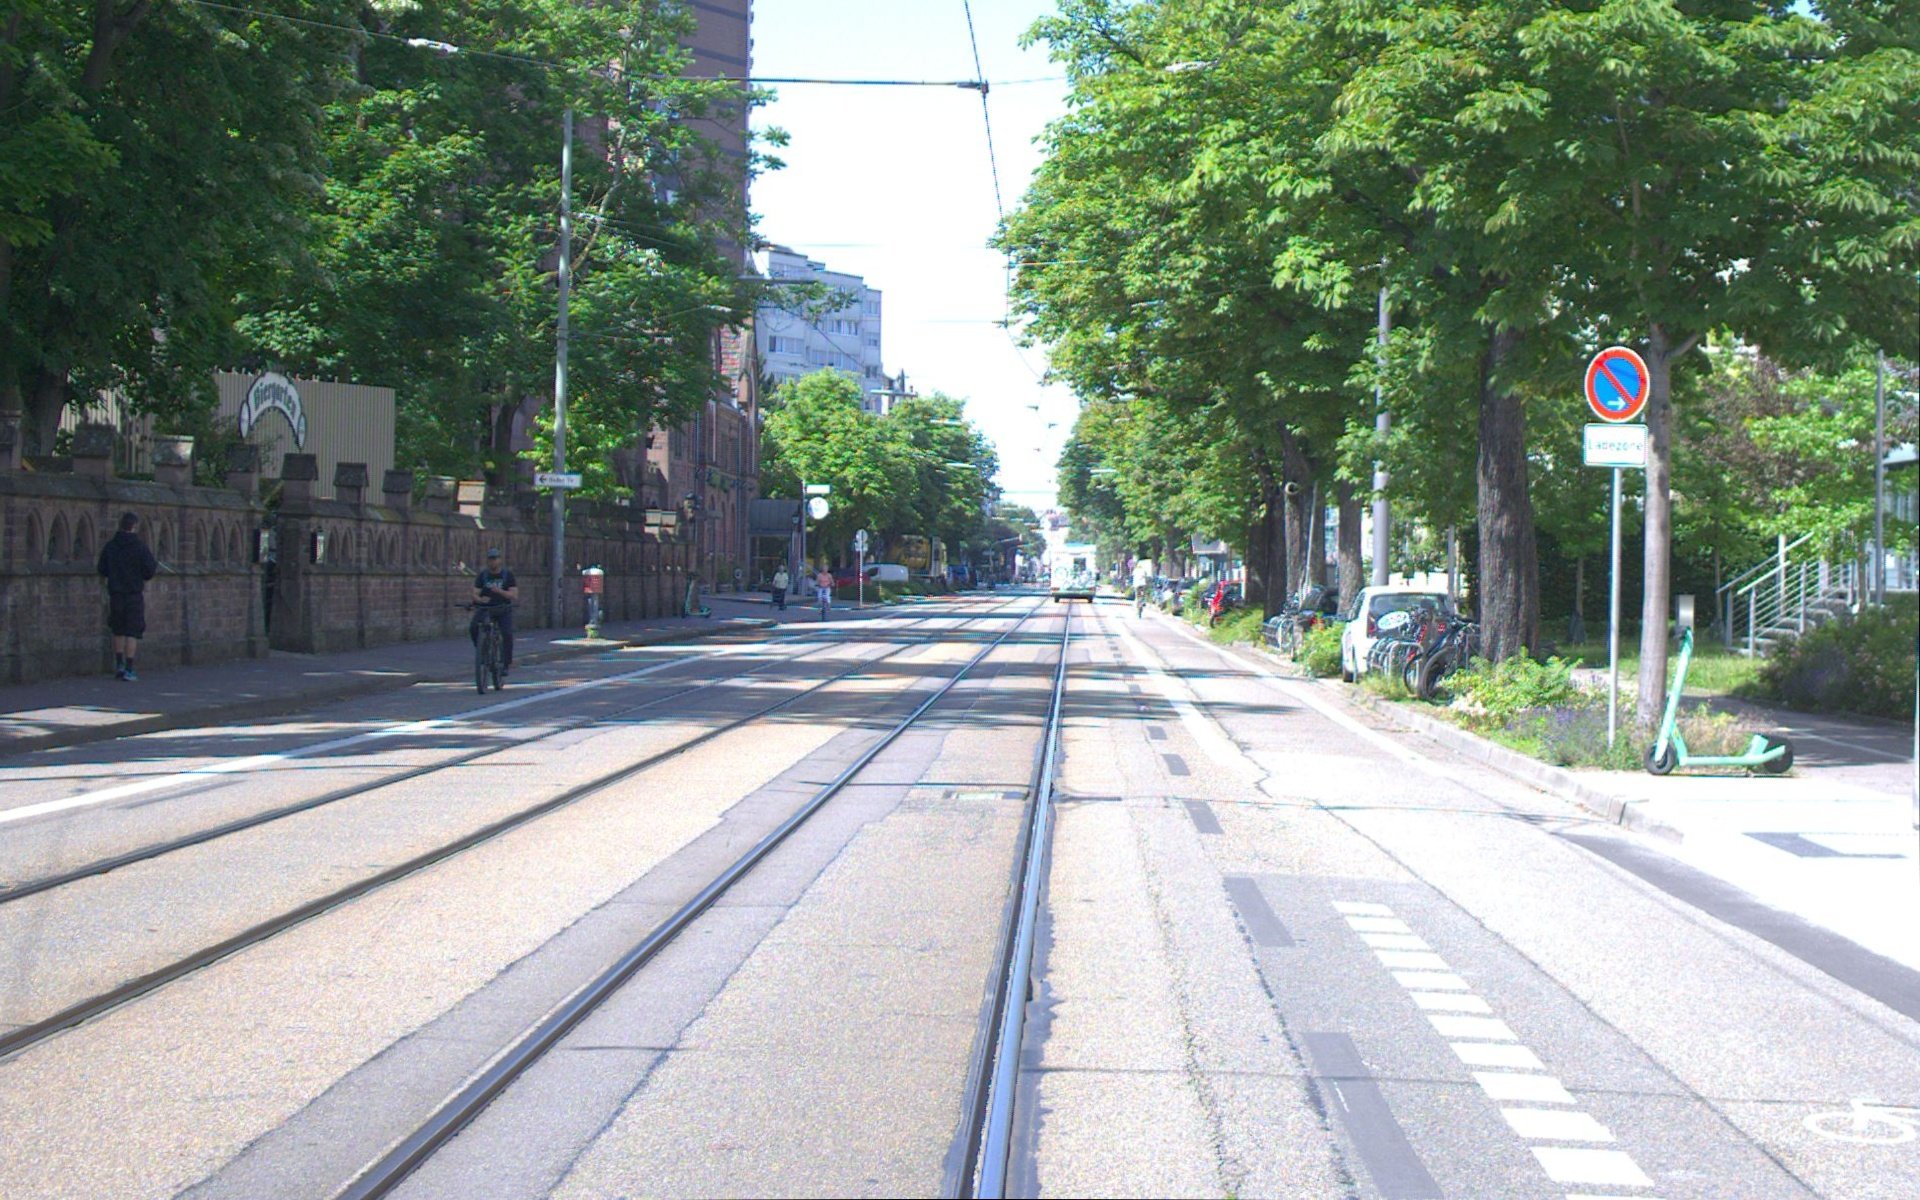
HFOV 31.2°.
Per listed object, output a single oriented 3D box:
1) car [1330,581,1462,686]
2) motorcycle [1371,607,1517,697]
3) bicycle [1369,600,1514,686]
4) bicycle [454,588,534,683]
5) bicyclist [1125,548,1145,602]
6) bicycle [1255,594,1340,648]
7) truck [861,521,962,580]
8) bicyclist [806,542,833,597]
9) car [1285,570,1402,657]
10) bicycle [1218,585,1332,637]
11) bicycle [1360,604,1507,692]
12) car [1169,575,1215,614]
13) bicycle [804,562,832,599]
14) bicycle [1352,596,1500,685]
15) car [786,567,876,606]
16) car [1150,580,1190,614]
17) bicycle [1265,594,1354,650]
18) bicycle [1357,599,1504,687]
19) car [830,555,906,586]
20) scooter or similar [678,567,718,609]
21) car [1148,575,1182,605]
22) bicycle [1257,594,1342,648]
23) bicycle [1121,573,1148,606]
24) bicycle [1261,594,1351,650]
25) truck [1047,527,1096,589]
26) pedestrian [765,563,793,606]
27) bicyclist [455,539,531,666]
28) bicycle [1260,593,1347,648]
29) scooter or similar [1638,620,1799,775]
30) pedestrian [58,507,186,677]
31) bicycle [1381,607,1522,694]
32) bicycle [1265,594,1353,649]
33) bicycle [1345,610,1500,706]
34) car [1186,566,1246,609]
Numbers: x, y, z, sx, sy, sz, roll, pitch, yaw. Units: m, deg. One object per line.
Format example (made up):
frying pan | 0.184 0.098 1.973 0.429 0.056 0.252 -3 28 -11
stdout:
car | 6.396 0.463 50.723 1.630 1.467 3.630 1 0 3
motorcycle | 6.015 0.645 42.783 1.724 1.082 0.658 1 0 2
bicycle | 6.302 0.563 45.061 1.793 1.082 0.726 1 0 2
bicycle | -5.706 0.423 42.194 0.592 1.102 2.054 1 1 2
bicyclist | 6.116 -0.867 120.122 0.636 1.865 1.024 1 0 1
bicycle | 7.012 0.436 71.474 1.724 1.082 0.615 1 0 2
truck | -3.223 -3.306 231.695 2.816 3.846 9.987 1 0 24
bicyclist | -4.400 -0.966 107.628 0.725 1.693 1.147 1 0 1
car | 6.968 0.220 62.792 1.630 1.478 4.273 1 1 0
bicycle | 8.498 0.302 92.695 3.028 1.327 1.041 1 0 6
bicycle | 6.275 0.629 45.592 1.849 1.128 0.680 1 0 2
car | 8.975 -0.221 133.377 1.630 1.467 4.113 1 0 2
bicycle | -4.440 -0.613 107.600 0.662 1.150 2.014 1 1 2
bicycle | 6.348 0.547 46.915 1.904 1.165 0.819 1 0 2
car | -6.377 -0.663 169.938 3.987 1.804 1.889 1 0 -35
car | 9.239 -0.146 151.273 1.630 1.467 4.113 1 1 2
bicycle | 7.021 0.434 69.165 1.724 1.082 0.697 1 0 2
bicycle | 6.322 0.574 46.269 1.873 1.138 0.686 1 0 2
car | -5.447 -1.718 202.849 3.986 1.744 2.000 1 0 -28
scooter or similar | -7.217 -0.330 94.659 0.333 1.125 1.183 1 0 41
car | 10.548 -0.516 176.857 1.630 1.467 4.113 1 1 2
bicycle | 7.100 0.437 72.011 1.724 1.082 0.478 1 0 2
bicycle | 6.092 -0.373 119.937 0.855 1.106 2.139 1 1 1
bicycle | 6.888 0.439 68.512 1.724 1.082 0.628 1 0 2
truck | 5.727 -2.142 176.989 2.402 3.098 6.037 1 1 2
pedestrian | -6.397 -0.548 121.382 0.883 1.507 1.476 1 0 -7
bicyclist | -5.714 0.028 42.147 0.740 1.525 0.947 1 0 2
bicycle | 7.026 0.415 70.394 1.724 1.082 0.589 1 0 2
scooter or similar | 5.917 0.750 26.853 1.126 1.162 0.676 1 1 5
pedestrian | -9.439 -0.095 38.779 0.976 1.809 1.185 5 1 2
bicycle | 6.307 0.645 44.175 1.724 1.082 0.639 1 0 2
bicycle | 7.079 0.426 69.811 1.724 1.082 0.570 1 0 2
bicycle | 5.451 0.676 40.587 1.724 1.082 0.789 1 0 2
car | 8.307 -0.415 111.701 1.630 1.350 3.902 1 1 0
